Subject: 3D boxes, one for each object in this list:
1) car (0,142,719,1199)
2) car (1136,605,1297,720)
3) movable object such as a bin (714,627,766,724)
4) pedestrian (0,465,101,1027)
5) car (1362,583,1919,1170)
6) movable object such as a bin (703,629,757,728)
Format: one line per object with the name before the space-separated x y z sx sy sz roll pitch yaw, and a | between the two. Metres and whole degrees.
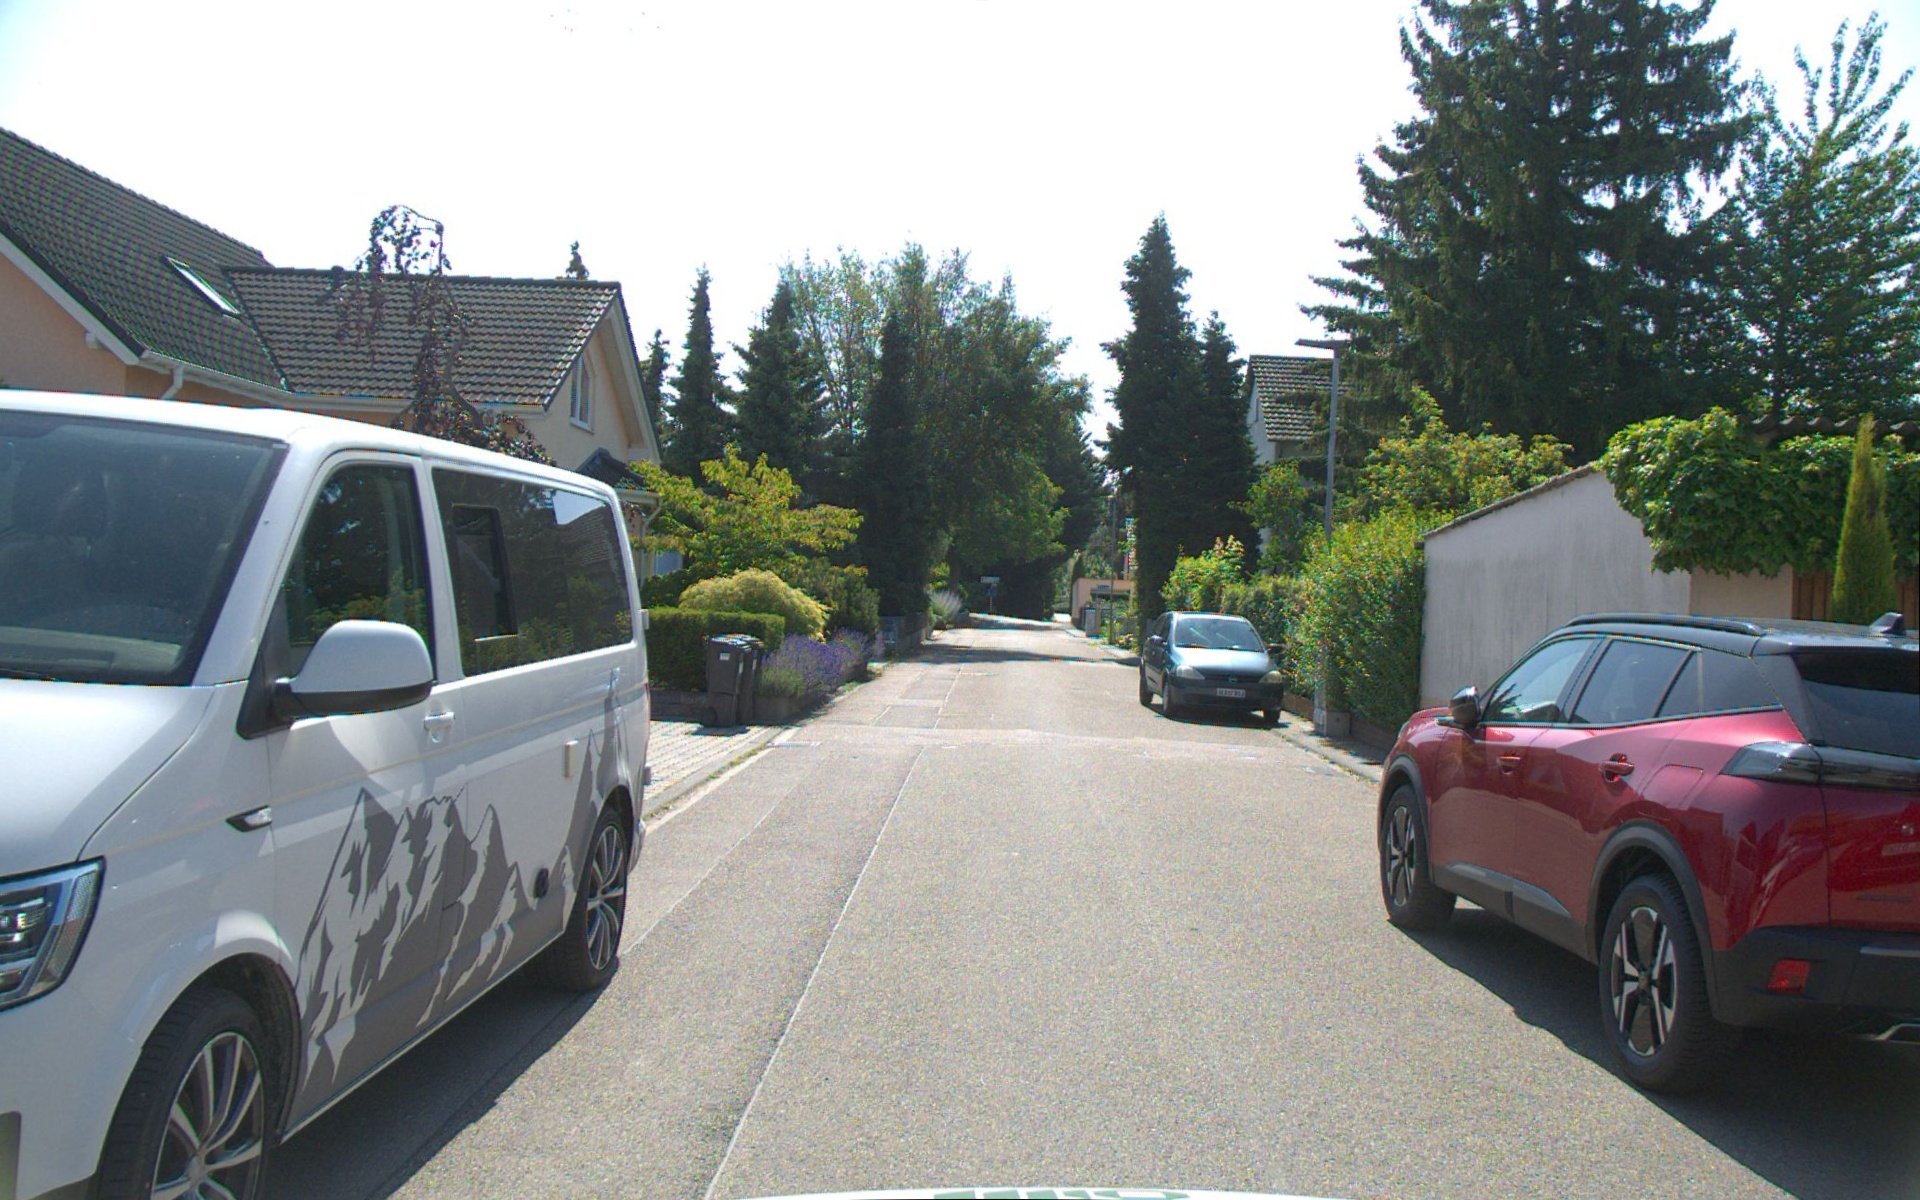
car | -2.150 0.354 4.787 1.888 2.049 4.897 2 0 3
car | 3.617 0.837 23.951 1.668 1.424 4.000 3 0 0
movable object such as a bin | -2.441 0.834 18.366 0.484 1.042 0.447 2 0 1
pedestrian | -3.301 0.447 5.325 0.677 1.761 0.640 3 0 32
car | 3.081 0.818 6.721 1.786 1.643 3.999 3 0 -1
movable object such as a bin | -2.490 0.842 17.905 0.484 1.042 0.447 2 0 1
